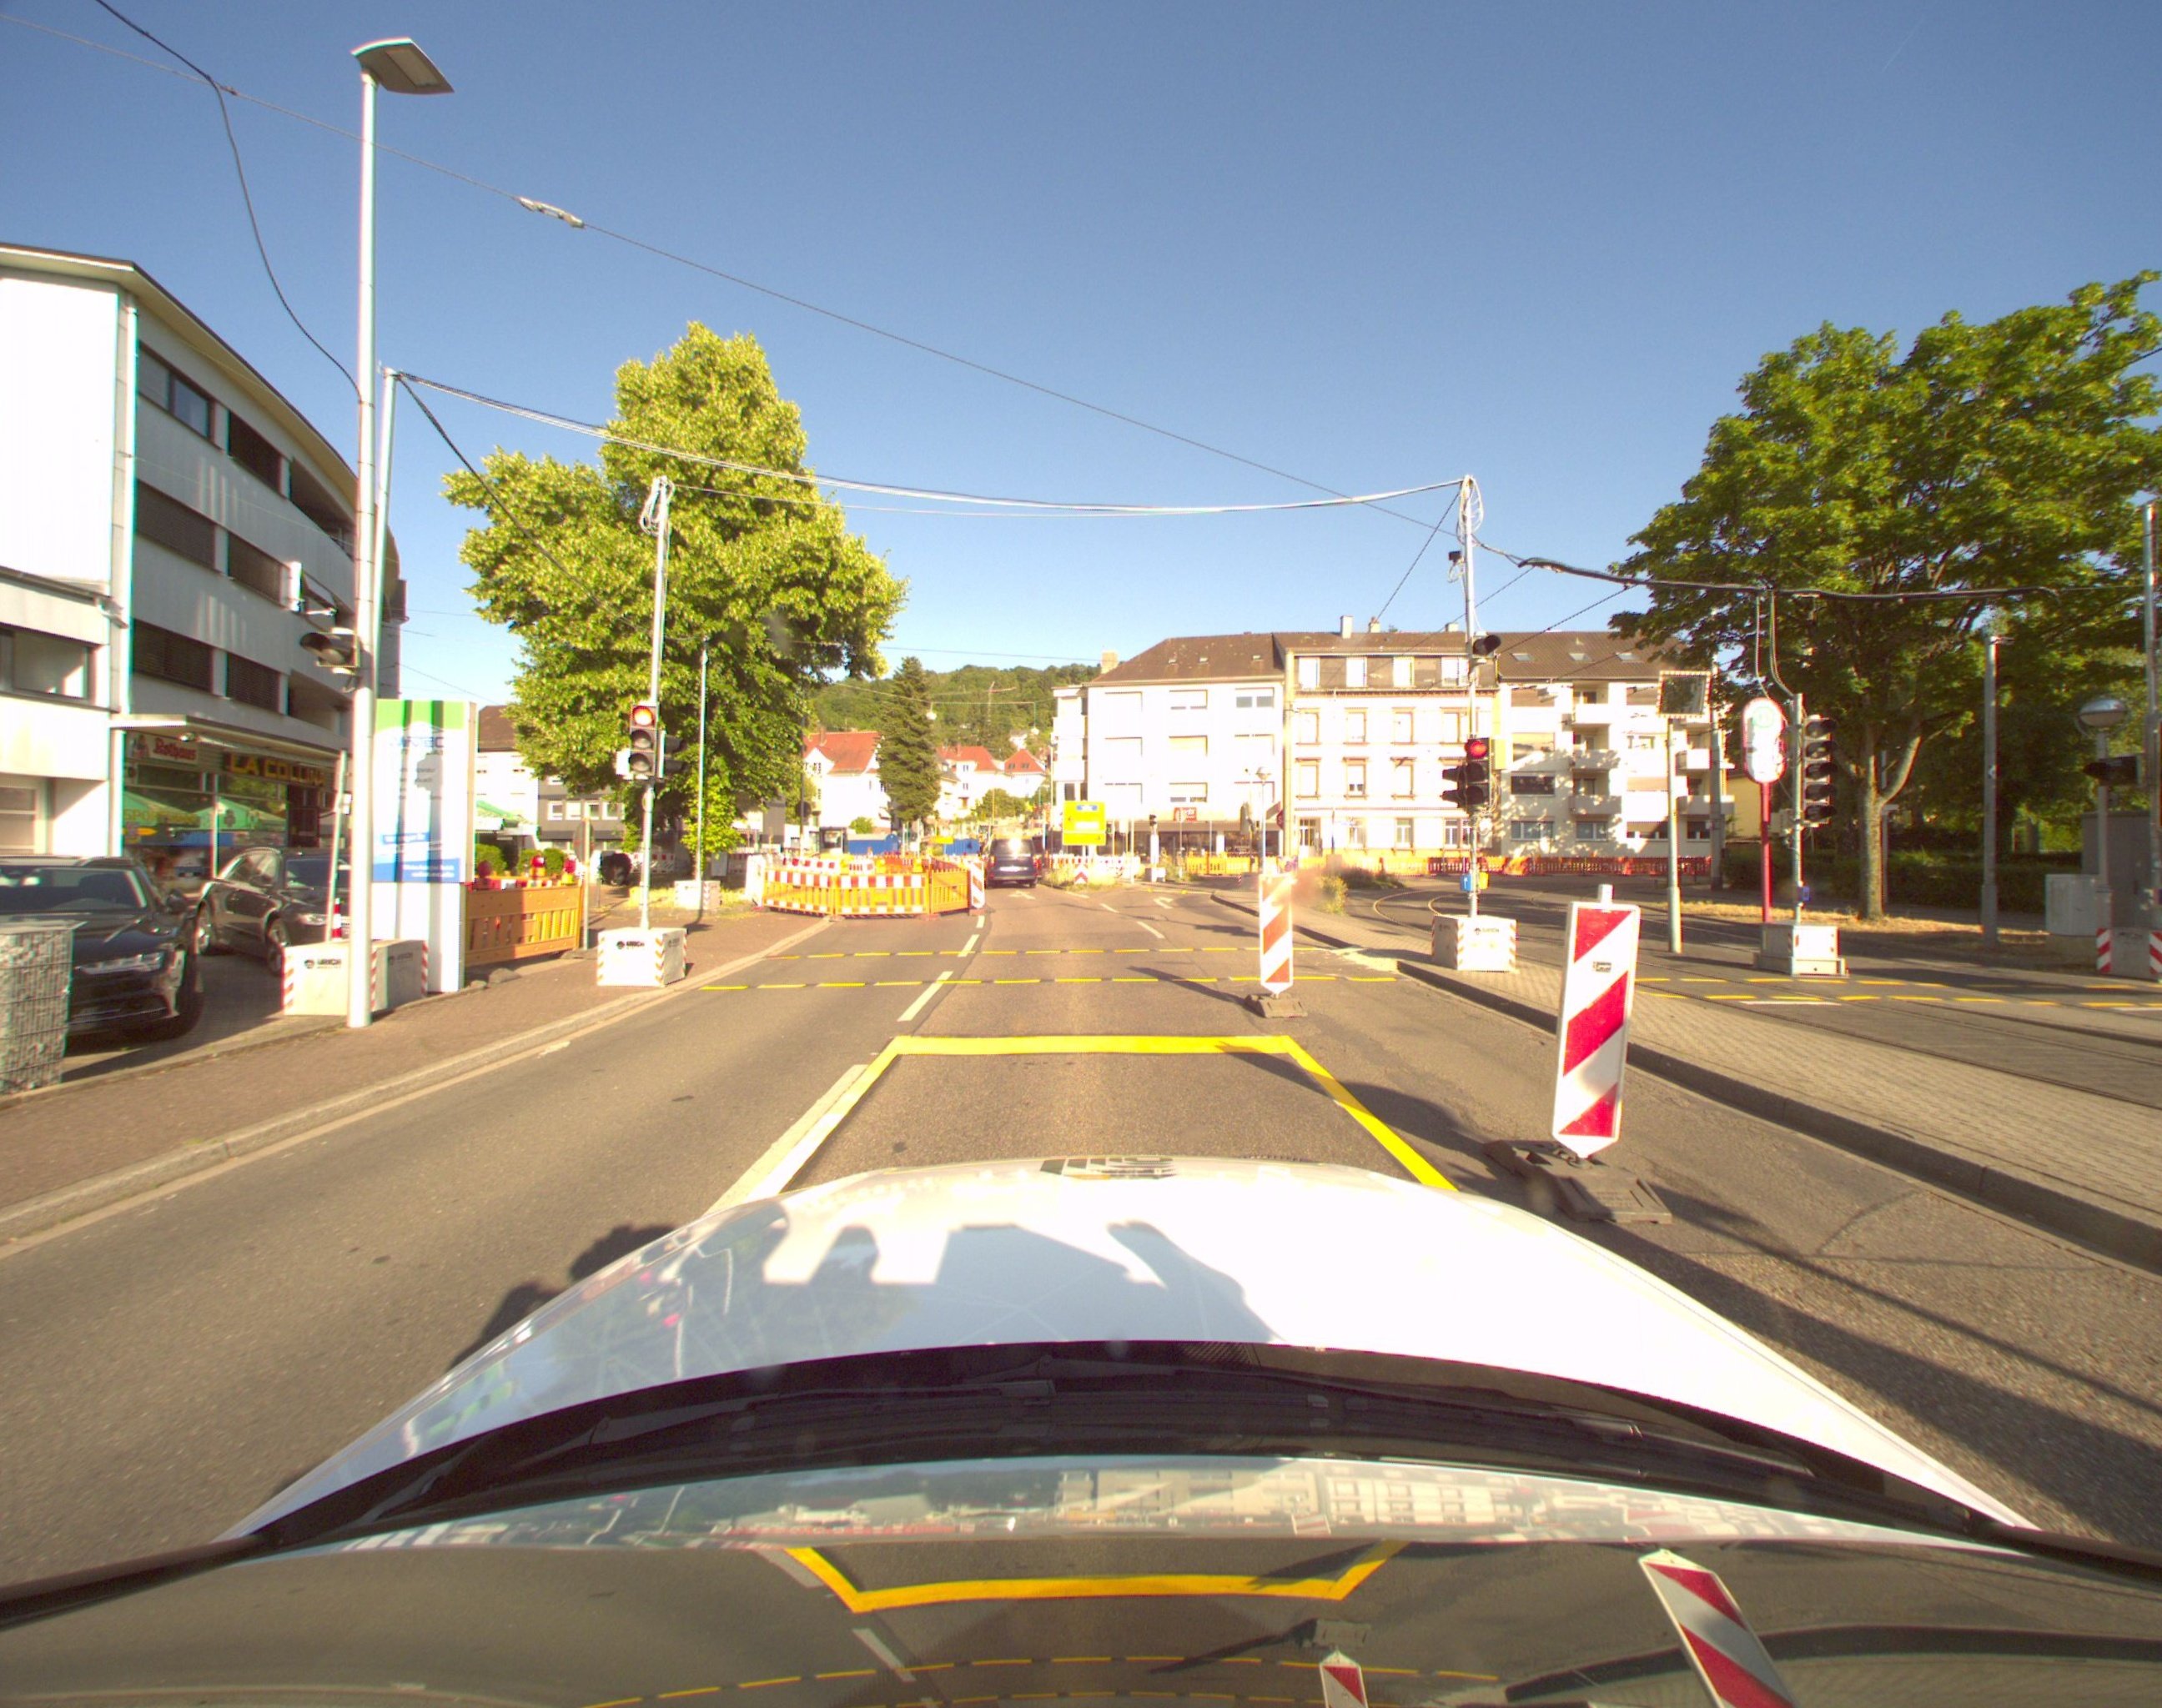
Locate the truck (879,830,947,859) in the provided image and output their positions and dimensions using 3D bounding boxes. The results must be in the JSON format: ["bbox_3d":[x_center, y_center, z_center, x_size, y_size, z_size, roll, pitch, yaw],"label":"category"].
[{"bbox_3d":[-14.732,-0.820,72.293,2.340,2.415,9.183,0,0,12],"label":"truck"}]

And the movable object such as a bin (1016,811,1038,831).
[{"bbox_3d":[-7.812,-4.687,117.316,2.176,2.690,4.013,0,0,11],"label":"movable object such as a bin"}]

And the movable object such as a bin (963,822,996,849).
[{"bbox_3d":[-10.256,-1.832,82.814,2.176,2.690,4.013,0,0,11],"label":"movable object such as a bin"}]

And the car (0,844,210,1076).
[{"bbox_3d":[-8.597,0.678,6.709,4.259,1.454,1.922,1,0,43],"label":"car"}]

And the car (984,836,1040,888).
[{"bbox_3d":[-2.942,0.278,33.723,2.060,2.013,4.986,0,1,-8],"label":"car"}]

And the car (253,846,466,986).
[{"bbox_3d":[-9.627,0.654,10.745,4.245,1.454,1.660,1,0,43],"label":"car"}]

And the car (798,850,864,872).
[{"bbox_3d":[-16.091,0.456,52.375,3.949,1.409,1.811,0,0,29],"label":"car"}]
